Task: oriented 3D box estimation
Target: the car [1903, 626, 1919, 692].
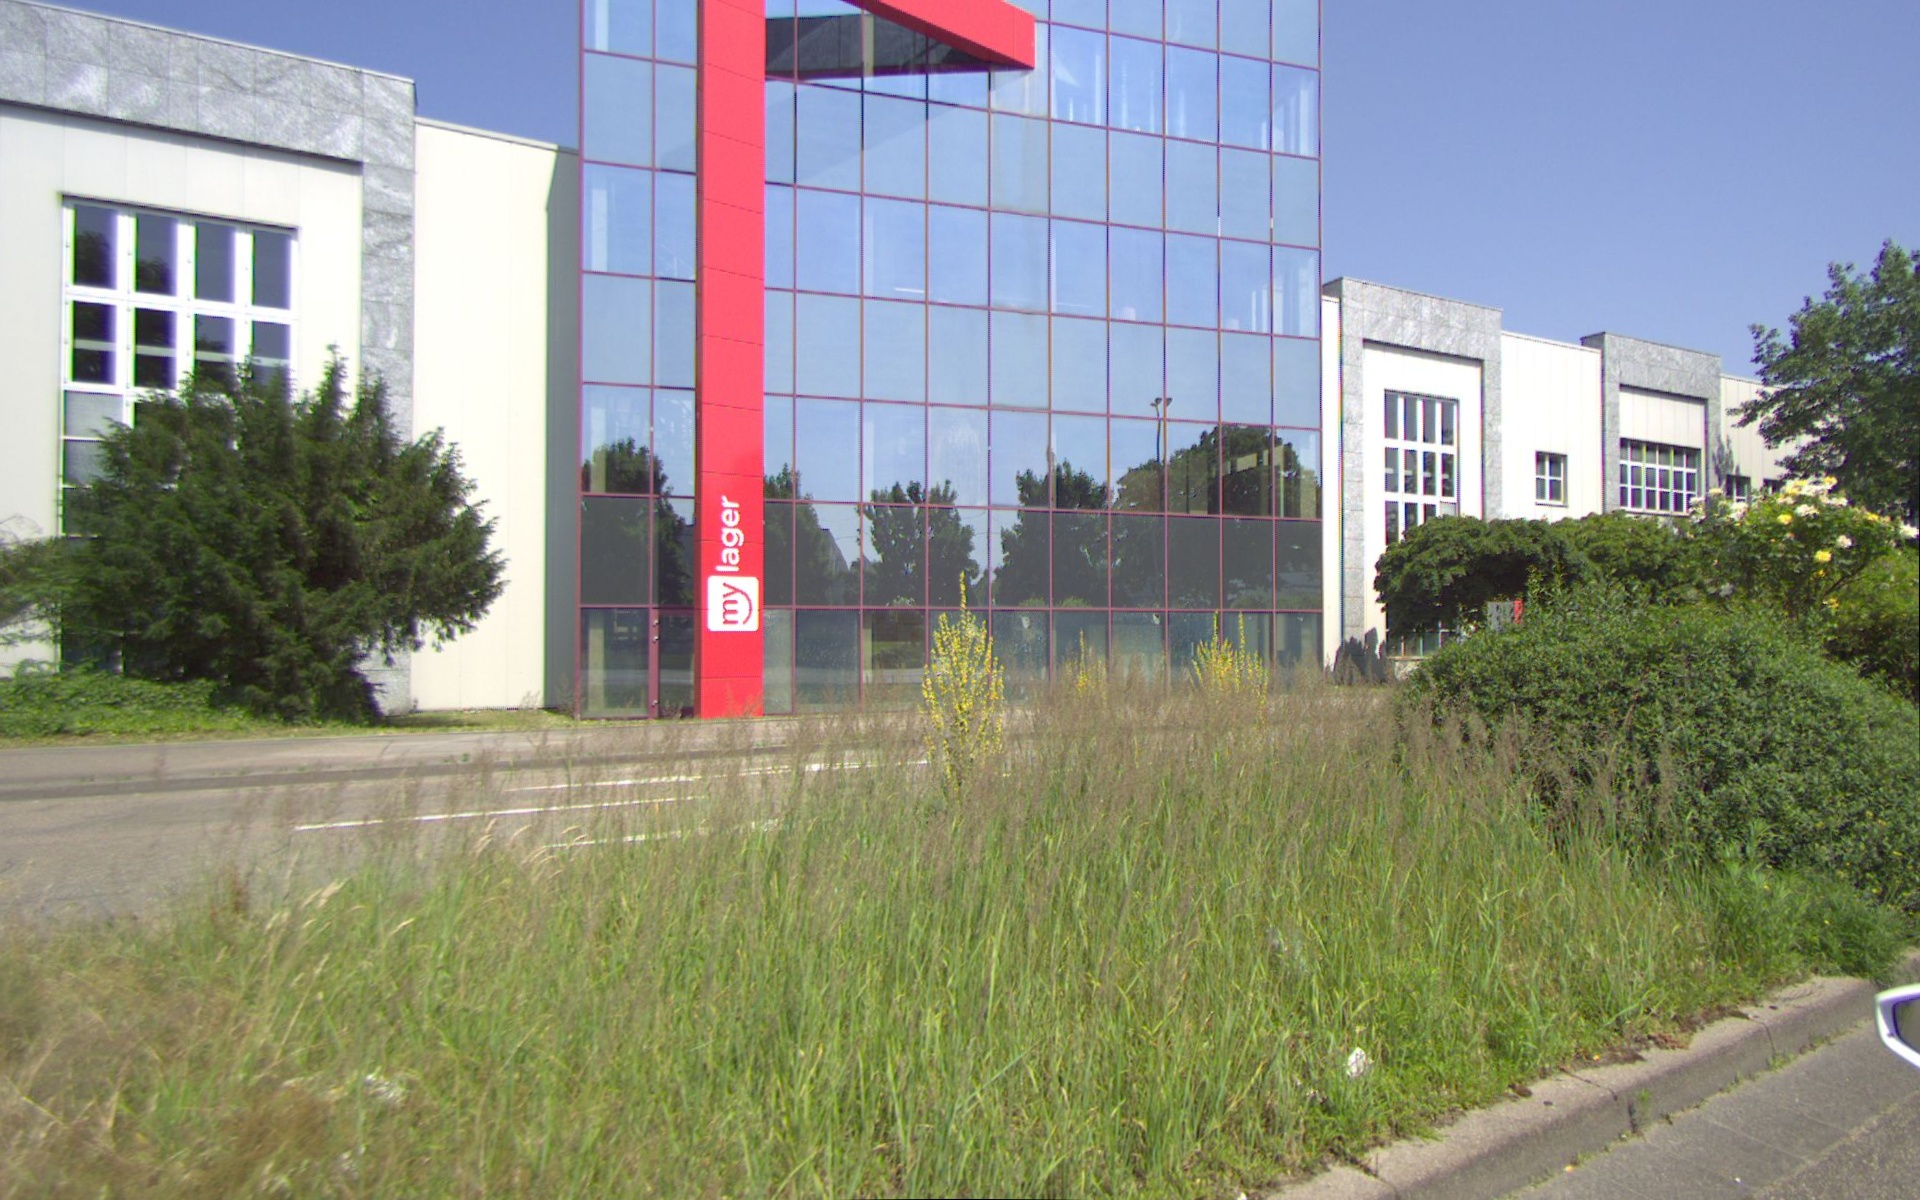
[{"bbox_3d":[26.092,1.510,25.798,3.428,1.659,1.725,1,-3,-29],"label":"car"}]
